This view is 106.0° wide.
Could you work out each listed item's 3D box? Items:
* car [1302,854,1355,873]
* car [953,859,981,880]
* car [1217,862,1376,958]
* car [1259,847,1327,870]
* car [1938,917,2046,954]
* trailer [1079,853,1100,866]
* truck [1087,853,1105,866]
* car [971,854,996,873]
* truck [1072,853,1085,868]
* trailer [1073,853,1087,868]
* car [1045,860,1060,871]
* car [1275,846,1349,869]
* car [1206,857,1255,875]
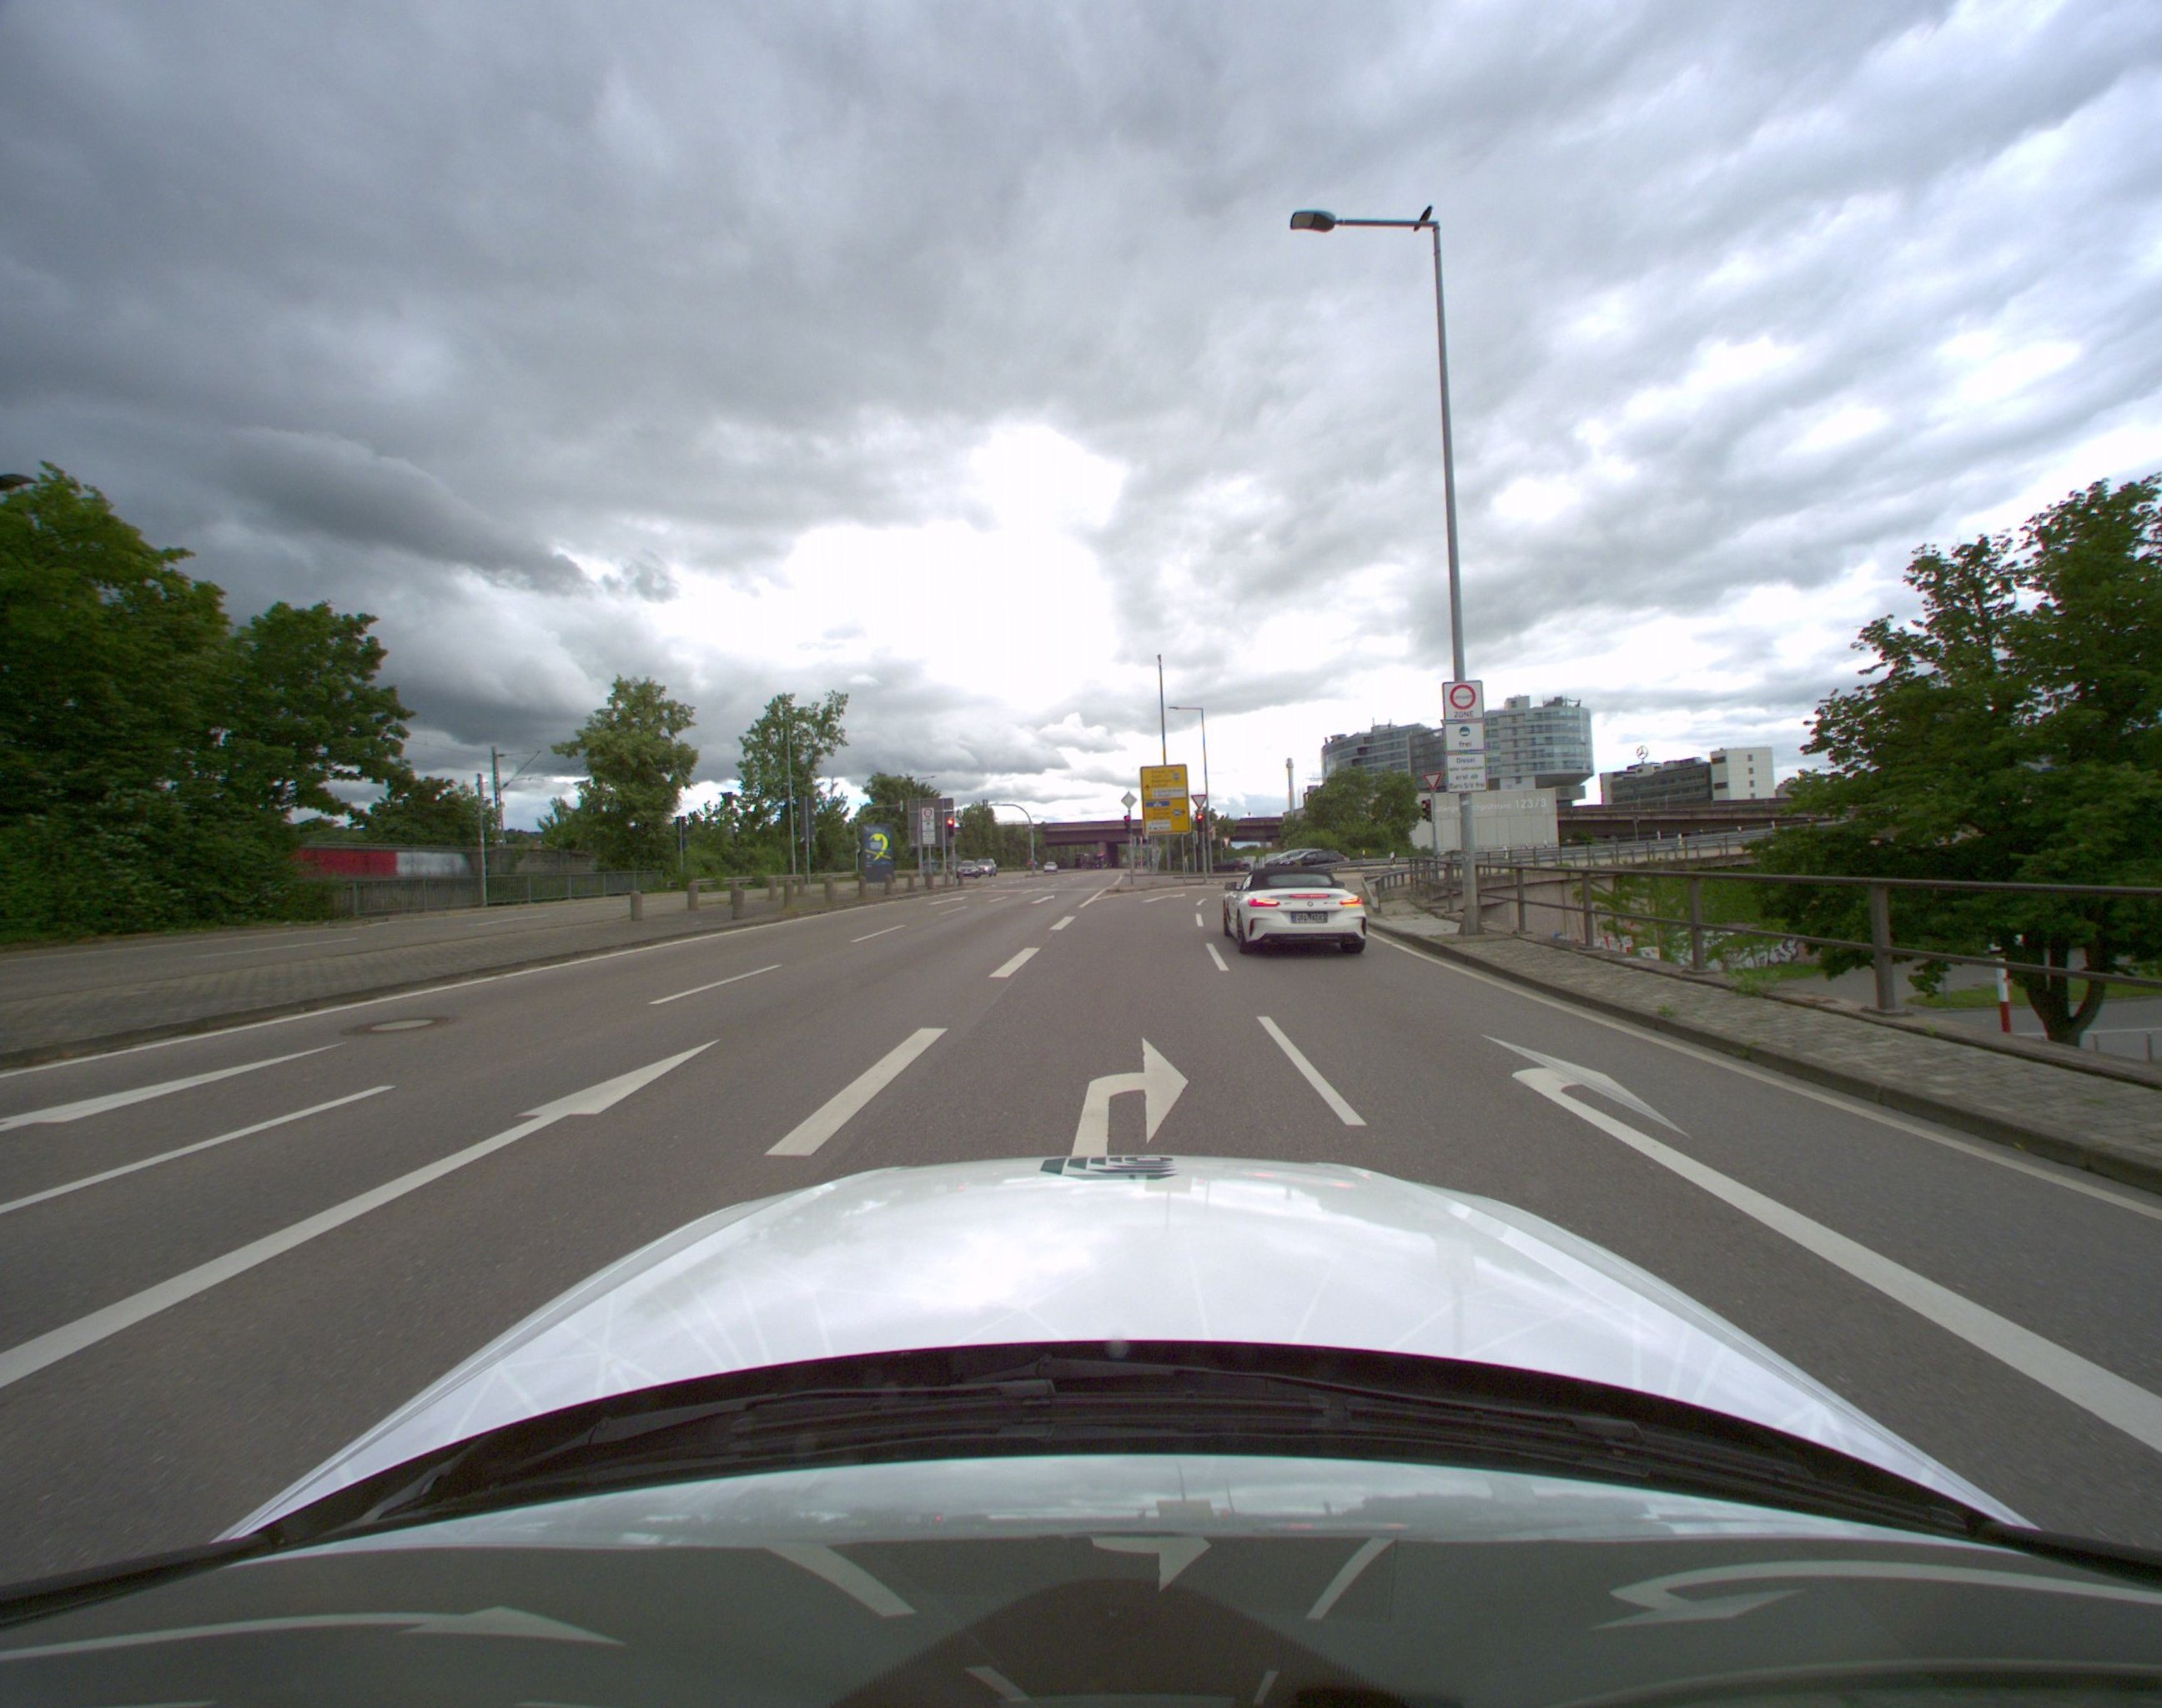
[{"bbox_3d":[21.394,0.836,70.398,4.058,1.442,2.012,-2,-3,27],"label":"car"},{"bbox_3d":[-9.506,1.309,67.615,1.728,1.462,4.219,2,-5,-16],"label":"car"},{"bbox_3d":[3.390,0.810,13.601,1.797,1.291,4.268,-1,0,4],"label":"car"},{"bbox_3d":[16.050,0.355,61.692,4.661,1.571,1.956,-2,0,1],"label":"car"},{"bbox_3d":[48.191,4.281,43.128,3.983,1.534,1.823,-3,0,-7],"label":"car"},{"bbox_3d":[1.944,1.189,183.210,2.604,2.624,8.530,2,0,-13],"label":"trailer"},{"bbox_3d":[3.230,1.270,178.421,2.614,2.624,5.756,2,0,-12],"label":"truck"},{"bbox_3d":[-9.208,0.879,77.359,1.718,1.737,4.556,-2,0,1],"label":"car"},{"bbox_3d":[-0.794,1.840,229.269,2.857,4.084,6.499,0,0,6],"label":"truck"},{"bbox_3d":[-0.221,1.853,234.471,2.857,4.084,11.447,0,0,6],"label":"trailer"},{"bbox_3d":[-4.042,1.645,116.144,1.717,1.400,4.069,-2,0,2],"label":"car"},{"bbox_3d":[16.284,0.240,57.528,4.593,1.457,1.954,-2,0,-2],"label":"car"},{"bbox_3d":[13.825,1.138,75.576,4.058,1.464,2.012,-3,-3,44],"label":"car"}]
